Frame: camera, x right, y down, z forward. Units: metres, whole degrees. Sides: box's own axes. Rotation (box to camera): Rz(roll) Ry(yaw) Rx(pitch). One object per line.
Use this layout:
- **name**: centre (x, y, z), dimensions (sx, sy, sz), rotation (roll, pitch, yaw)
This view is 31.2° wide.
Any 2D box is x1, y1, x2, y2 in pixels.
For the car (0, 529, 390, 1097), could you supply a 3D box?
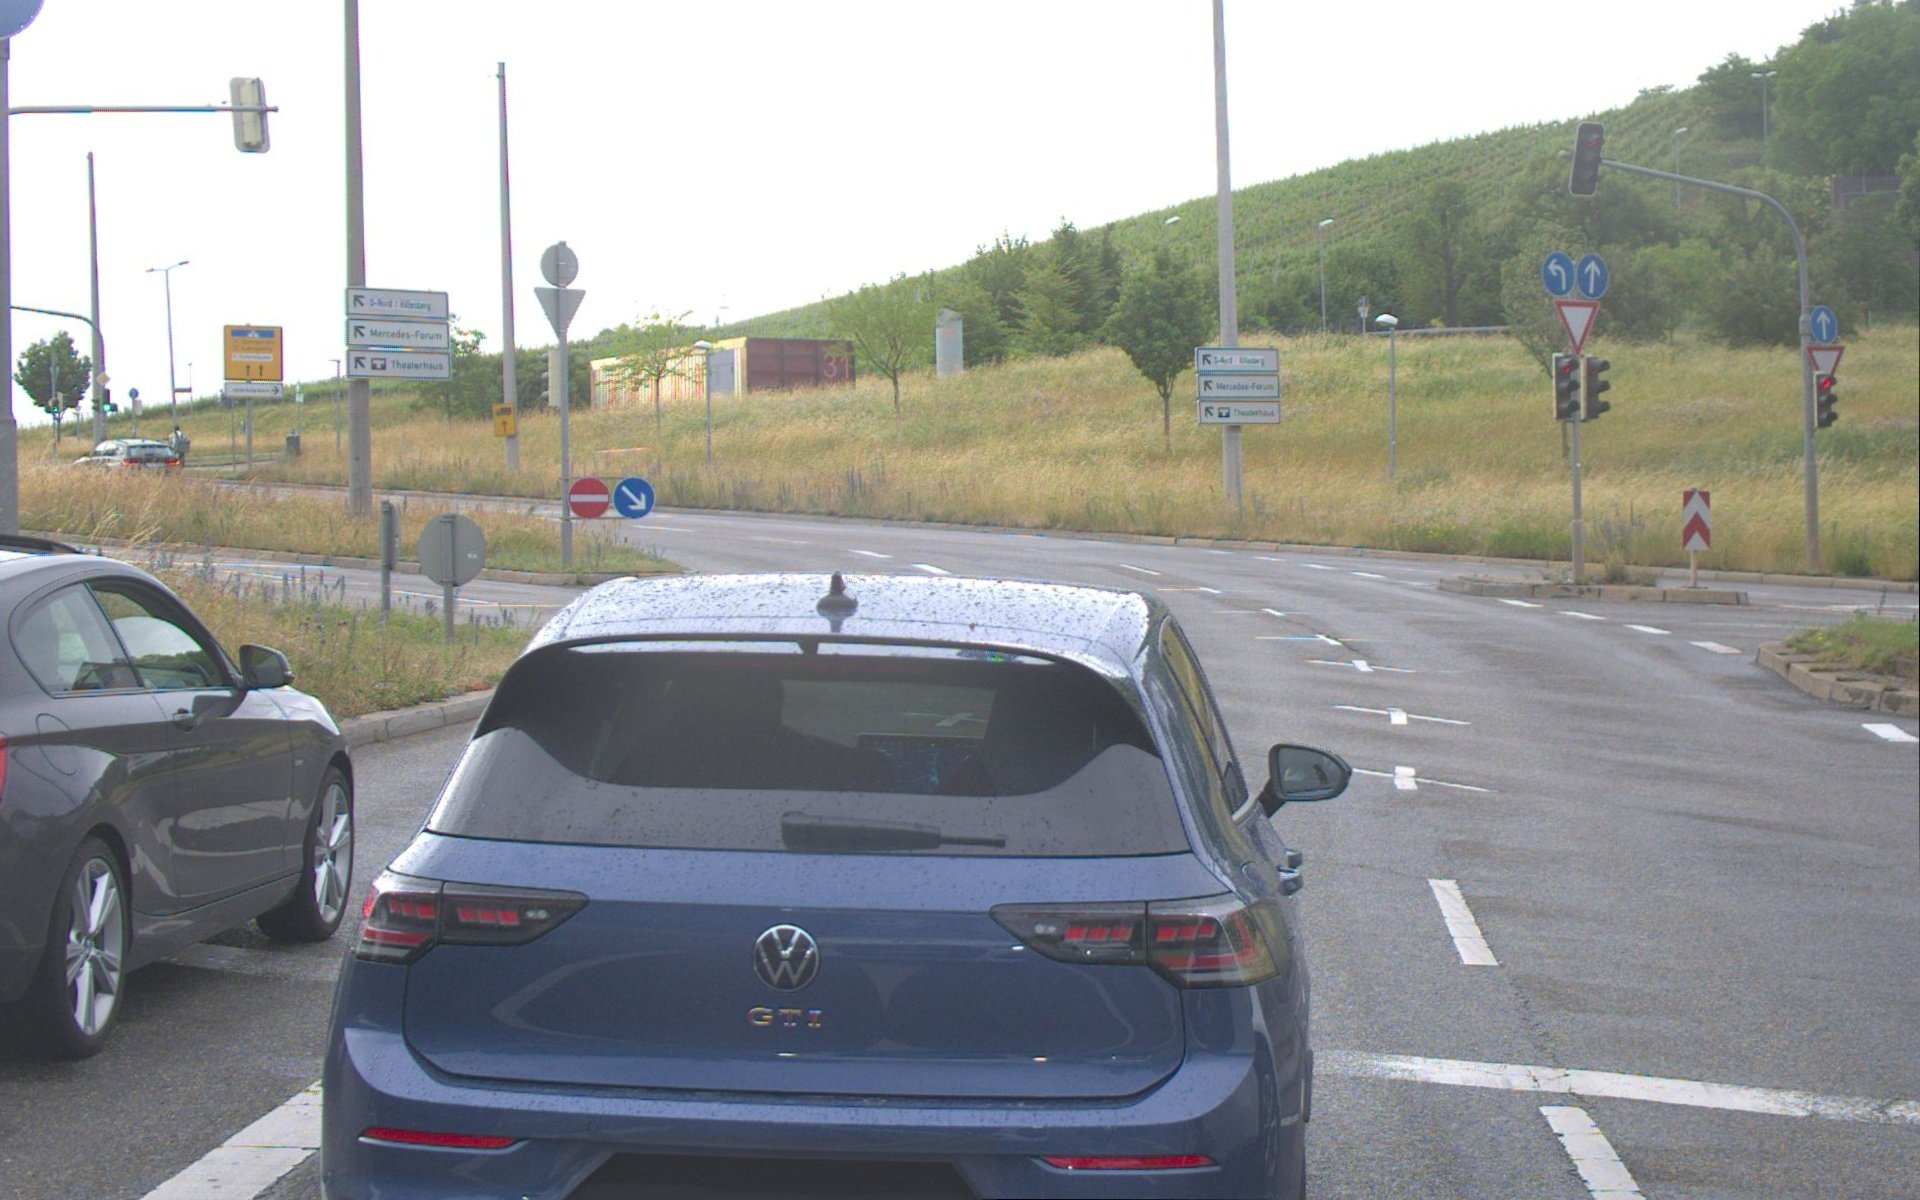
- **car**: centre (-3.147, 0.508, 10.779), dimensions (1.703, 1.454, 4.114), rotation (0, 1, 5)

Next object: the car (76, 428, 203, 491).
- **car**: centre (-22.346, -3.819, 93.528), dimensions (1.993, 1.612, 4.852), rotation (1, 2, -30)

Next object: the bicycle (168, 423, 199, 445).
- **bicycle**: centre (-27.968, -5.976, 123.797), dimensions (0.518, 0.772, 1.621), rotation (1, 2, -33)

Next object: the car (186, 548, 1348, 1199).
- **car**: centre (-0.158, 0.626, 7.274), dimensions (1.825, 1.455, 3.808), rotation (0, 1, 5)

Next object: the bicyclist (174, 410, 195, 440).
- **bicyclist**: centre (-27.918, -6.300, 123.759), dimensions (0.523, 1.043, 0.580), rotation (3, 1, -34)
